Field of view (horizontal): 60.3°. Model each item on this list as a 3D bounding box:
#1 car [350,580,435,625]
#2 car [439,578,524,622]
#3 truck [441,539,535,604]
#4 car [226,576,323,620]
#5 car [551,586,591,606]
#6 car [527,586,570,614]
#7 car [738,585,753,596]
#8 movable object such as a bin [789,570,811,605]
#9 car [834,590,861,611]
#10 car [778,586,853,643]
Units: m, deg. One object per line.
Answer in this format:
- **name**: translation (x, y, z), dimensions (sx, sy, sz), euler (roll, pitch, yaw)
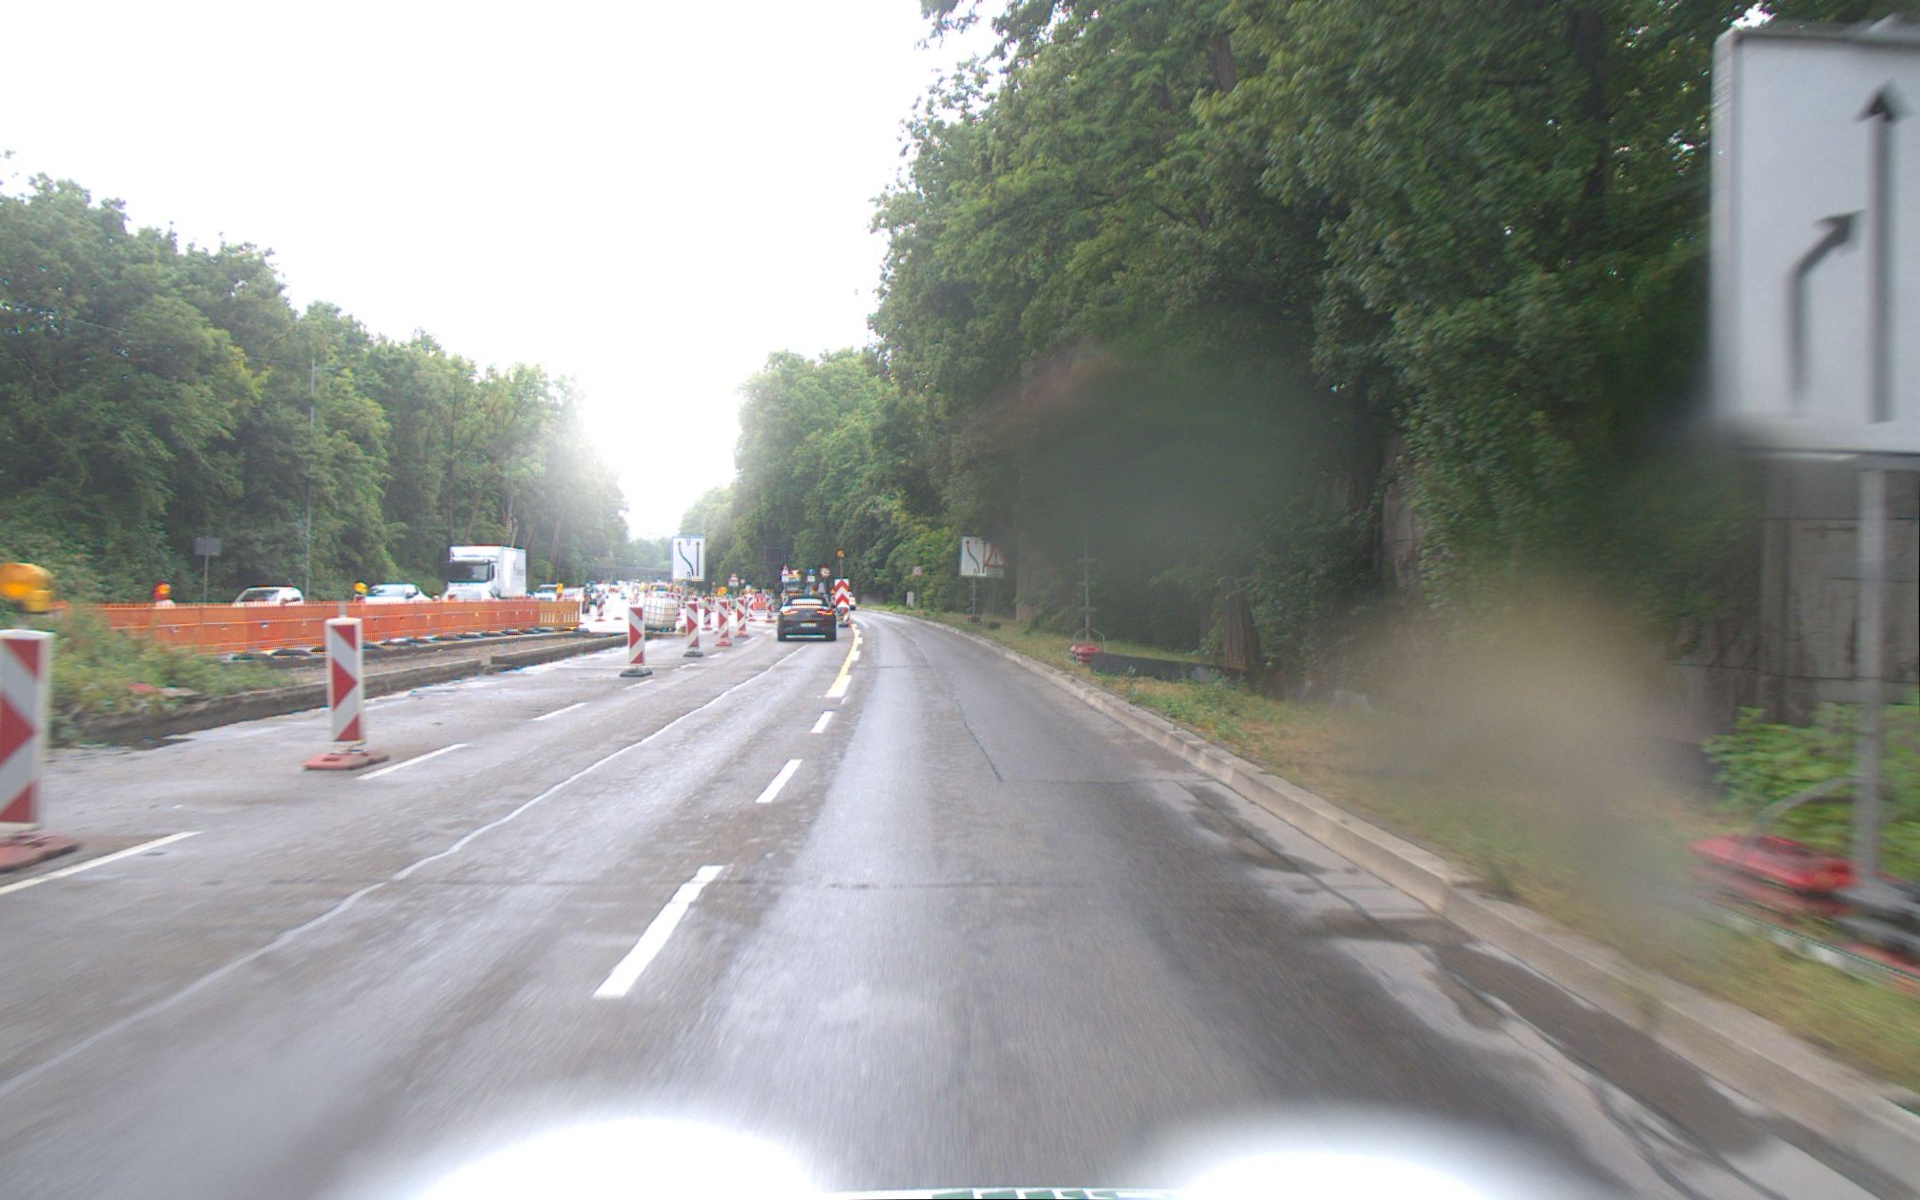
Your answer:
- **car**: translation (-20.522, 0.067, 59.961), dimensions (1.798, 1.577, 4.038), euler (0, 0, -2)
- **car**: translation (-17.155, -0.018, 59.534), dimensions (1.818, 1.512, 4.677), euler (0, 1, -2)
- **truck**: translation (-24.943, -1.453, 87.947), dimensions (2.740, 3.203, 10.140), euler (0, 0, -4)
- **car**: translation (-22.984, -0.080, 55.625), dimensions (1.755, 1.450, 3.895), euler (0, 0, -2)
- **car**: translation (-23.952, -0.266, 101.906), dimensions (1.573, 1.172, 4.281), euler (0, 0, -2)
- **car**: translation (-27.484, -0.037, 110.603), dimensions (1.807, 1.753, 4.717), euler (-3, 1, -2)
- **car**: translation (-29.522, -1.319, 227.177), dimensions (1.725, 1.367, 3.989), euler (2, 2, -12)
- **movable object such as a bin**: translation (-13.789, -1.063, 142.239), dimensions (1.714, 2.917, 3.528), euler (0, 0, -8)
- **car**: translation (-9.075, 0.020, 133.081), dimensions (1.877, 1.625, 4.827), euler (1, 1, -6)
- **car**: translation (-4.517, 0.418, 52.188), dimensions (1.823, 1.517, 4.002), euler (2, 3, 2)
